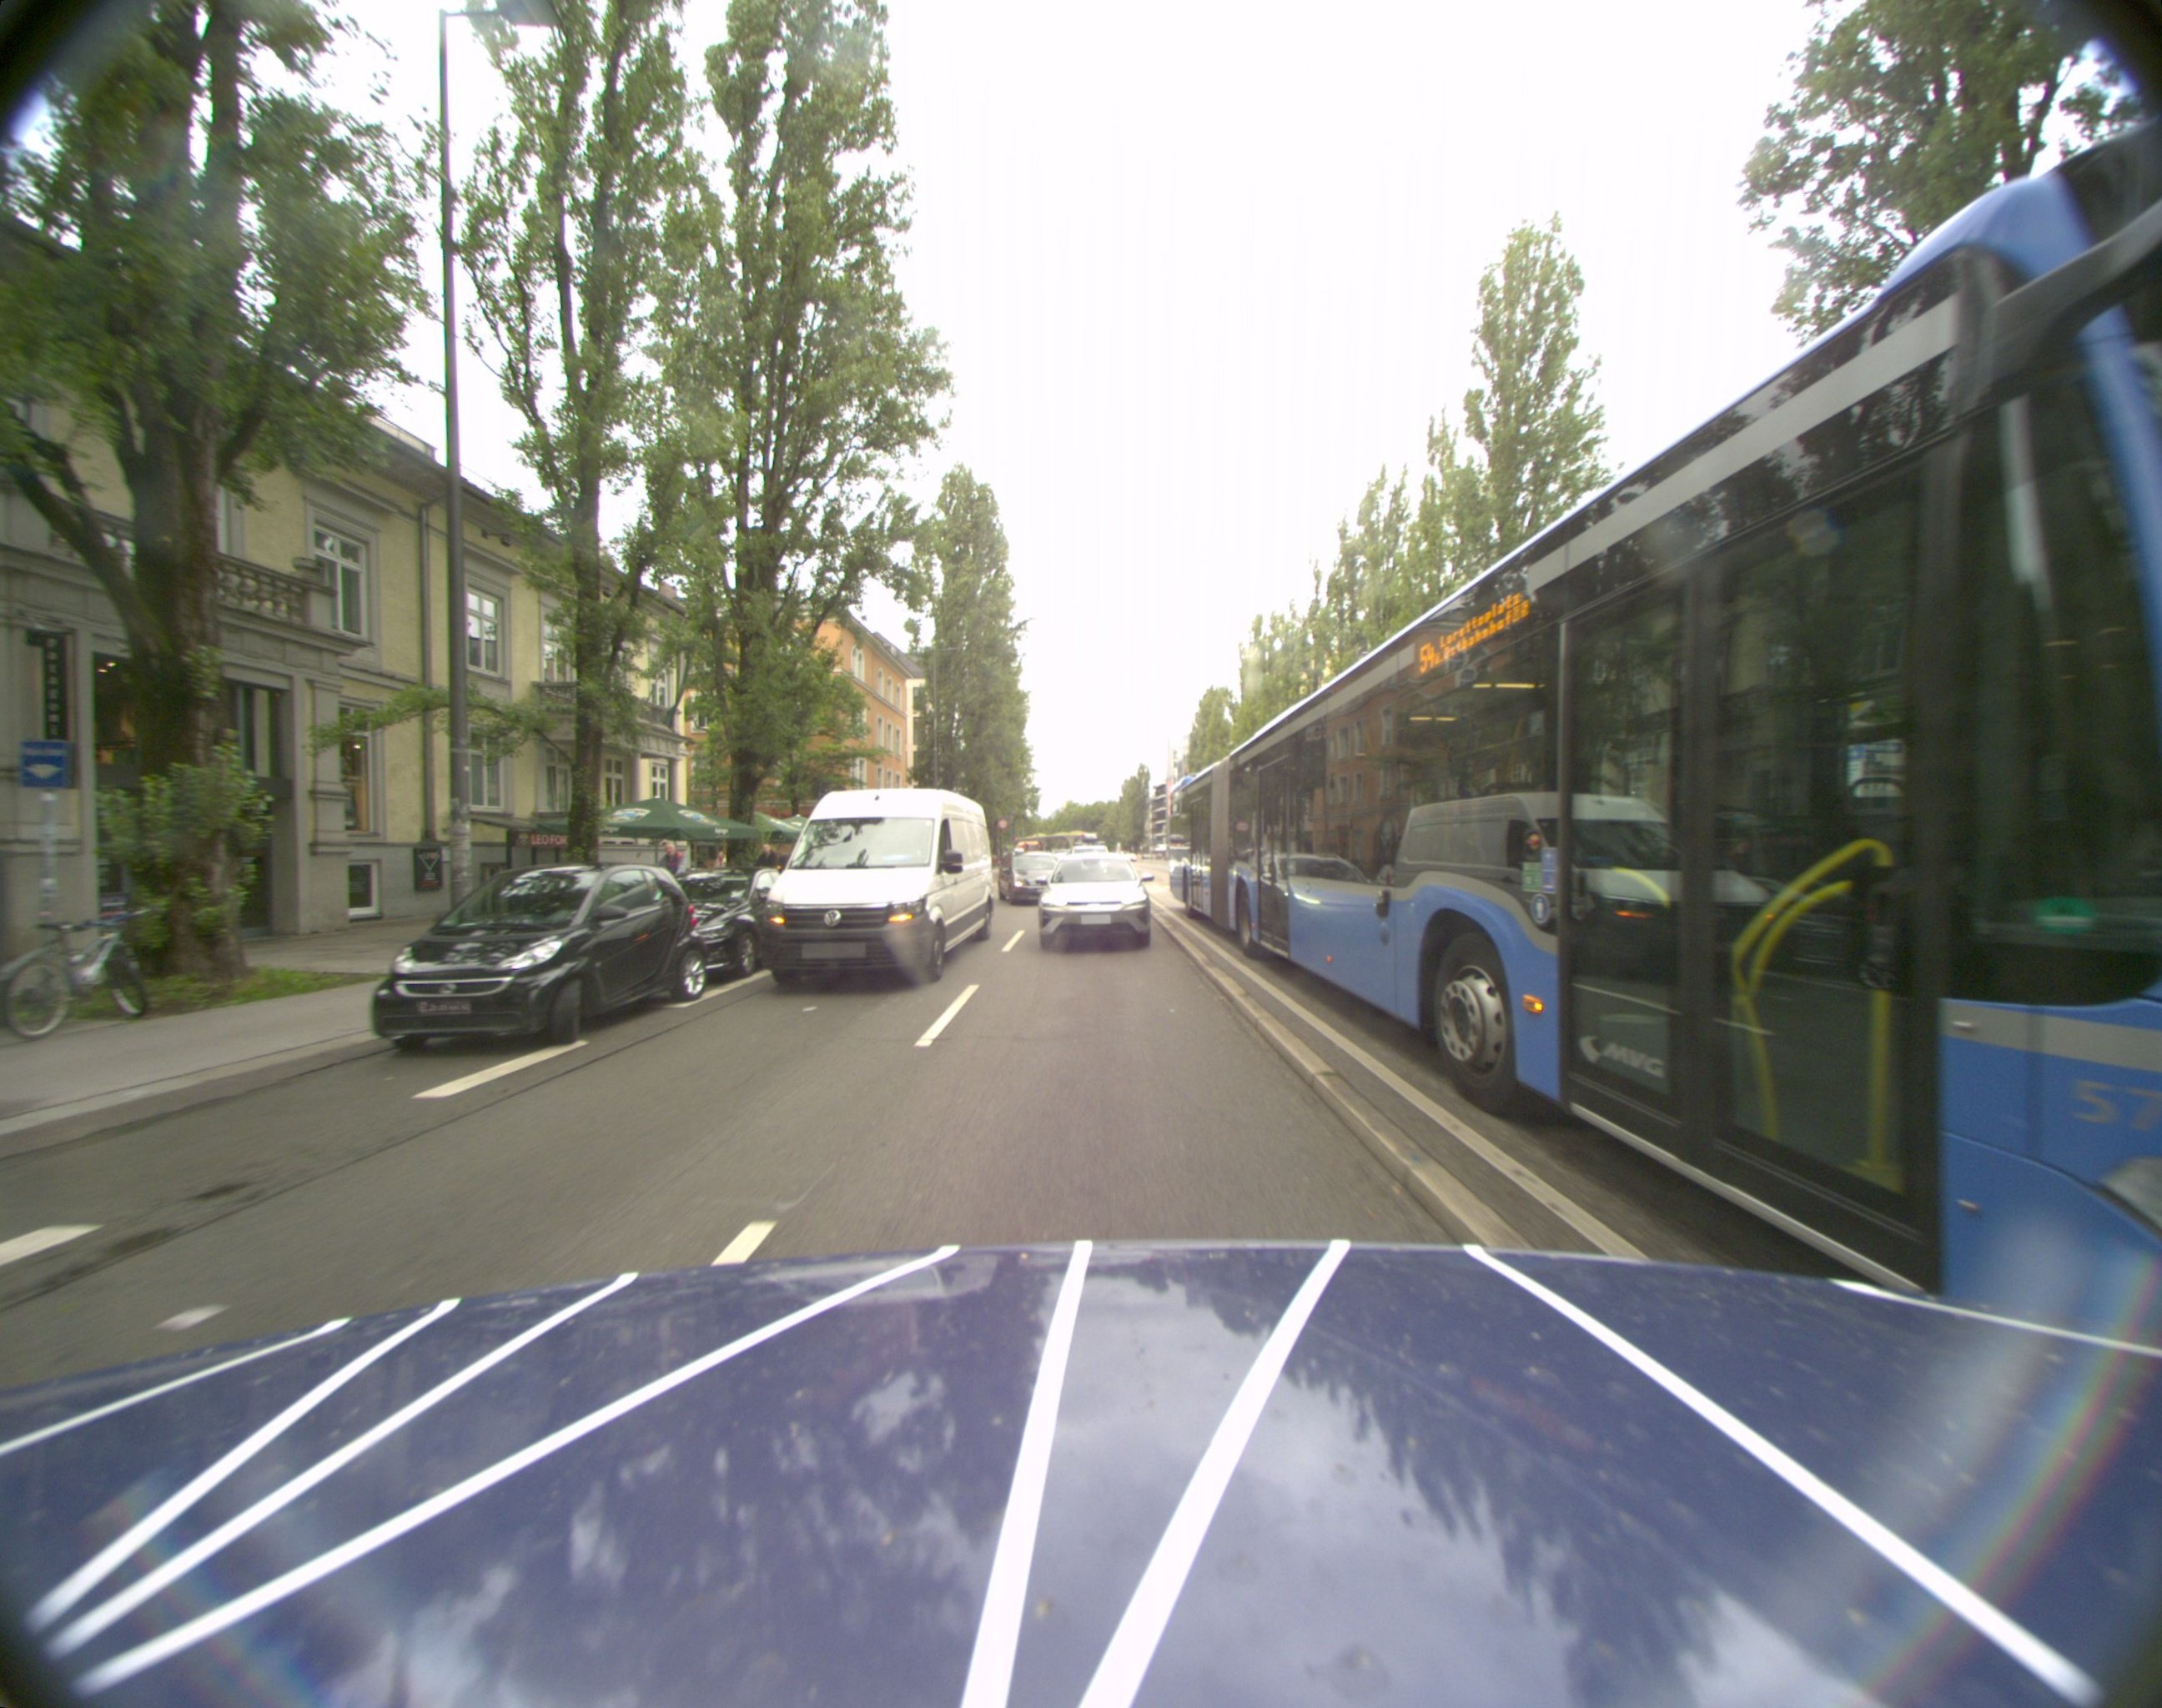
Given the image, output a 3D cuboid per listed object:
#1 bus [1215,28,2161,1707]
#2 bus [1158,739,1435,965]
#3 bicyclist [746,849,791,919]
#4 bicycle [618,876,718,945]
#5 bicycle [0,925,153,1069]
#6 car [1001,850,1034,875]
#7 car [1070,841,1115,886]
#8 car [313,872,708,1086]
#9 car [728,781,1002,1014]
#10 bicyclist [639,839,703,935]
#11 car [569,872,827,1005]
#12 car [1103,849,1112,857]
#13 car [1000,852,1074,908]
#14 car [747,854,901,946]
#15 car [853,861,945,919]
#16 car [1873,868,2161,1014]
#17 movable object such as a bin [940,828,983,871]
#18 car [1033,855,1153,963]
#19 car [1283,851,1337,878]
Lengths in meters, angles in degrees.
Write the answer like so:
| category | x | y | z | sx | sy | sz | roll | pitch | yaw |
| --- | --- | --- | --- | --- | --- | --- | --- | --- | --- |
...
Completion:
| category | x | y | z | sx | sy | sz | roll | pitch | yaw |
| --- | --- | --- | --- | --- | --- | --- | --- | --- | --- |
| bus | 3.259 | -0.003 | 6.060 | 2.696 | 2.932 | 10.051 | 0 | 1 | 0 |
| bus | 3.334 | -0.063 | 14.969 | 2.690 | 2.932 | 10.051 | 0 | 1 | 0 |
| bicyclist | -7.579 | 0.711 | 18.452 | 0.741 | 1.677 | 0.749 | -1 | 1 | 4 |
| bicycle | -7.643 | 1.011 | 14.192 | 0.887 | 1.113 | 2.101 | 0 | 1 | -5 |
| bicycle | -9.015 | 1.199 | 6.636 | 0.510 | 0.988 | 1.624 | -1 | 1 | -27 |
| car | -4.233 | 0.567 | 51.148 | 1.789 | 1.544 | 4.498 | -2 | 0 | 0 |
| car | 0.499 | 0.379 | 34.715 | 1.839 | 1.831 | 5.129 | -2 | 1 | 0 |
| car | -5.036 | 0.994 | 7.185 | 1.596 | 1.509 | 2.729 | -2 | 1 | 1 |
| car | -2.685 | 0.451 | 11.576 | 2.068 | 2.478 | 6.730 | -1 | 0 | 1 |
| bicyclist | -7.645 | 0.604 | 14.206 | 0.831 | 1.747 | 0.667 | -1 | 1 | -6 |
| car | -5.199 | 1.037 | 11.063 | 1.714 | 1.385 | 4.342 | -1 | 1 | -3 |
| car | 5.360 | -0.183 | 156.042 | 1.718 | 1.532 | 4.076 | 1 | 1 | 1 |
| car | -1.504 | 0.748 | 24.301 | 1.884 | 1.582 | 4.189 | -2 | 1 | -9 |
| car | -5.323 | 0.855 | 16.397 | 1.808 | 1.628 | 4.446 | -2 | 1 | -1 |
| car | -5.027 | 0.944 | 21.504 | 1.698 | 1.408 | 3.950 | -1 | 0 | -1 |
| car | 11.860 | 0.929 | 8.457 | 1.741 | 1.411 | 4.148 | 1 | 0 | 1 |
| movable object such as a bin | -9.116 | -0.326 | 58.356 | 2.445 | 3.119 | 4.543 | 1 | 1 | 1 |
| car | 0.185 | 0.820 | 13.339 | 1.742 | 1.510 | 4.033 | -2 | 0 | 0 |
| car | 12.882 | 0.575 | 42.937 | 1.760 | 1.414 | 3.784 | 1 | 0 | -2 |
